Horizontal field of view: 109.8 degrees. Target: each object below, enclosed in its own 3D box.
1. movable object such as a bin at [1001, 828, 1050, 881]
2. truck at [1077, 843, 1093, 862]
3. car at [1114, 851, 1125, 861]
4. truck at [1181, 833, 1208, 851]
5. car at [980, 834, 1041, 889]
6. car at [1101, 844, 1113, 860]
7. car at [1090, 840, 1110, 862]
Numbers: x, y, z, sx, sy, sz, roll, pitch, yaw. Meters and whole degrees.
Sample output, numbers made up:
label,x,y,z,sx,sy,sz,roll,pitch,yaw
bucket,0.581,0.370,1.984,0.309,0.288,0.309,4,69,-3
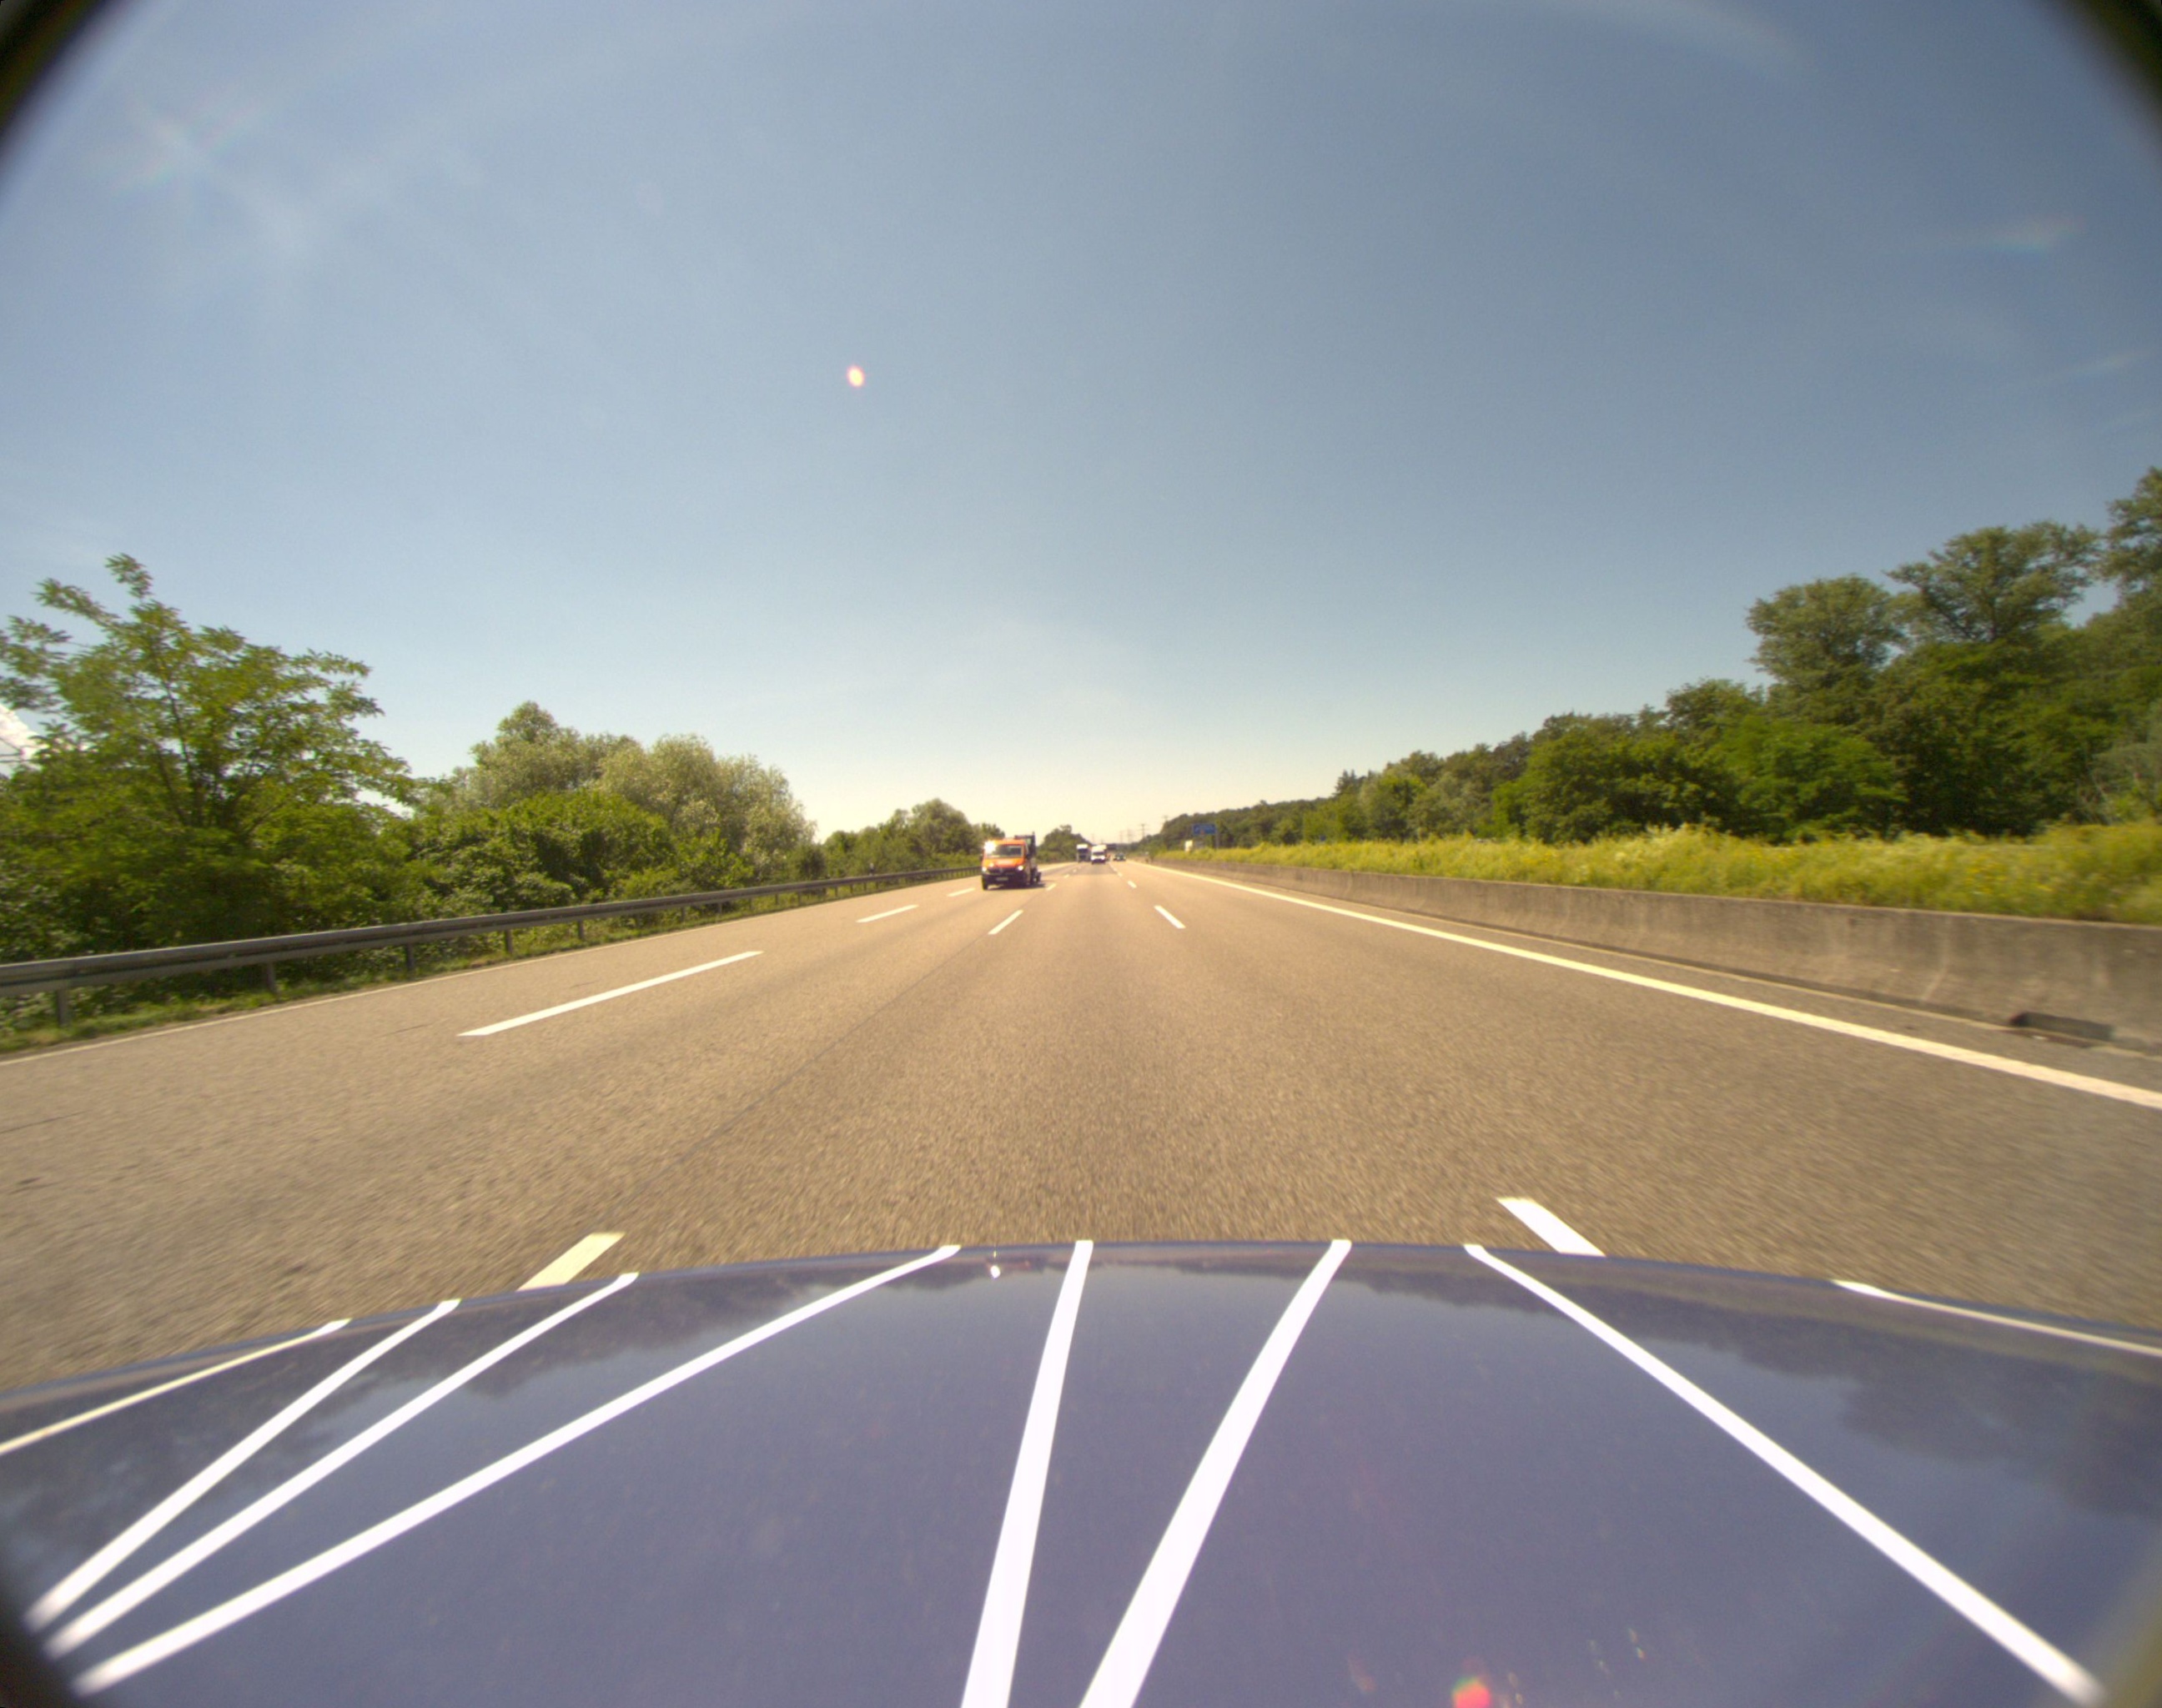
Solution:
label,x,y,z,sx,sy,sz,roll,pitch,yaw
movable object such as a bin,-3.128,0.021,43.801,2.179,2.799,4.762,-2,0,2
truck,0.993,-0.368,176.739,2.990,4.187,7.595,-3,0,3
car,8.129,0.453,159.246,1.999,2.002,4.000,-2,0,0
truck,26.115,-2.678,175.937,3.607,3.713,17.486,-2,0,1
car,-3.356,0.335,37.755,1.998,2.391,7.227,-2,0,2
car,6.739,-0.552,201.532,2.797,4.090,7.305,-2,1,0
car,2.862,-0.427,111.491,2.521,2.857,6.401,-5,0,3
